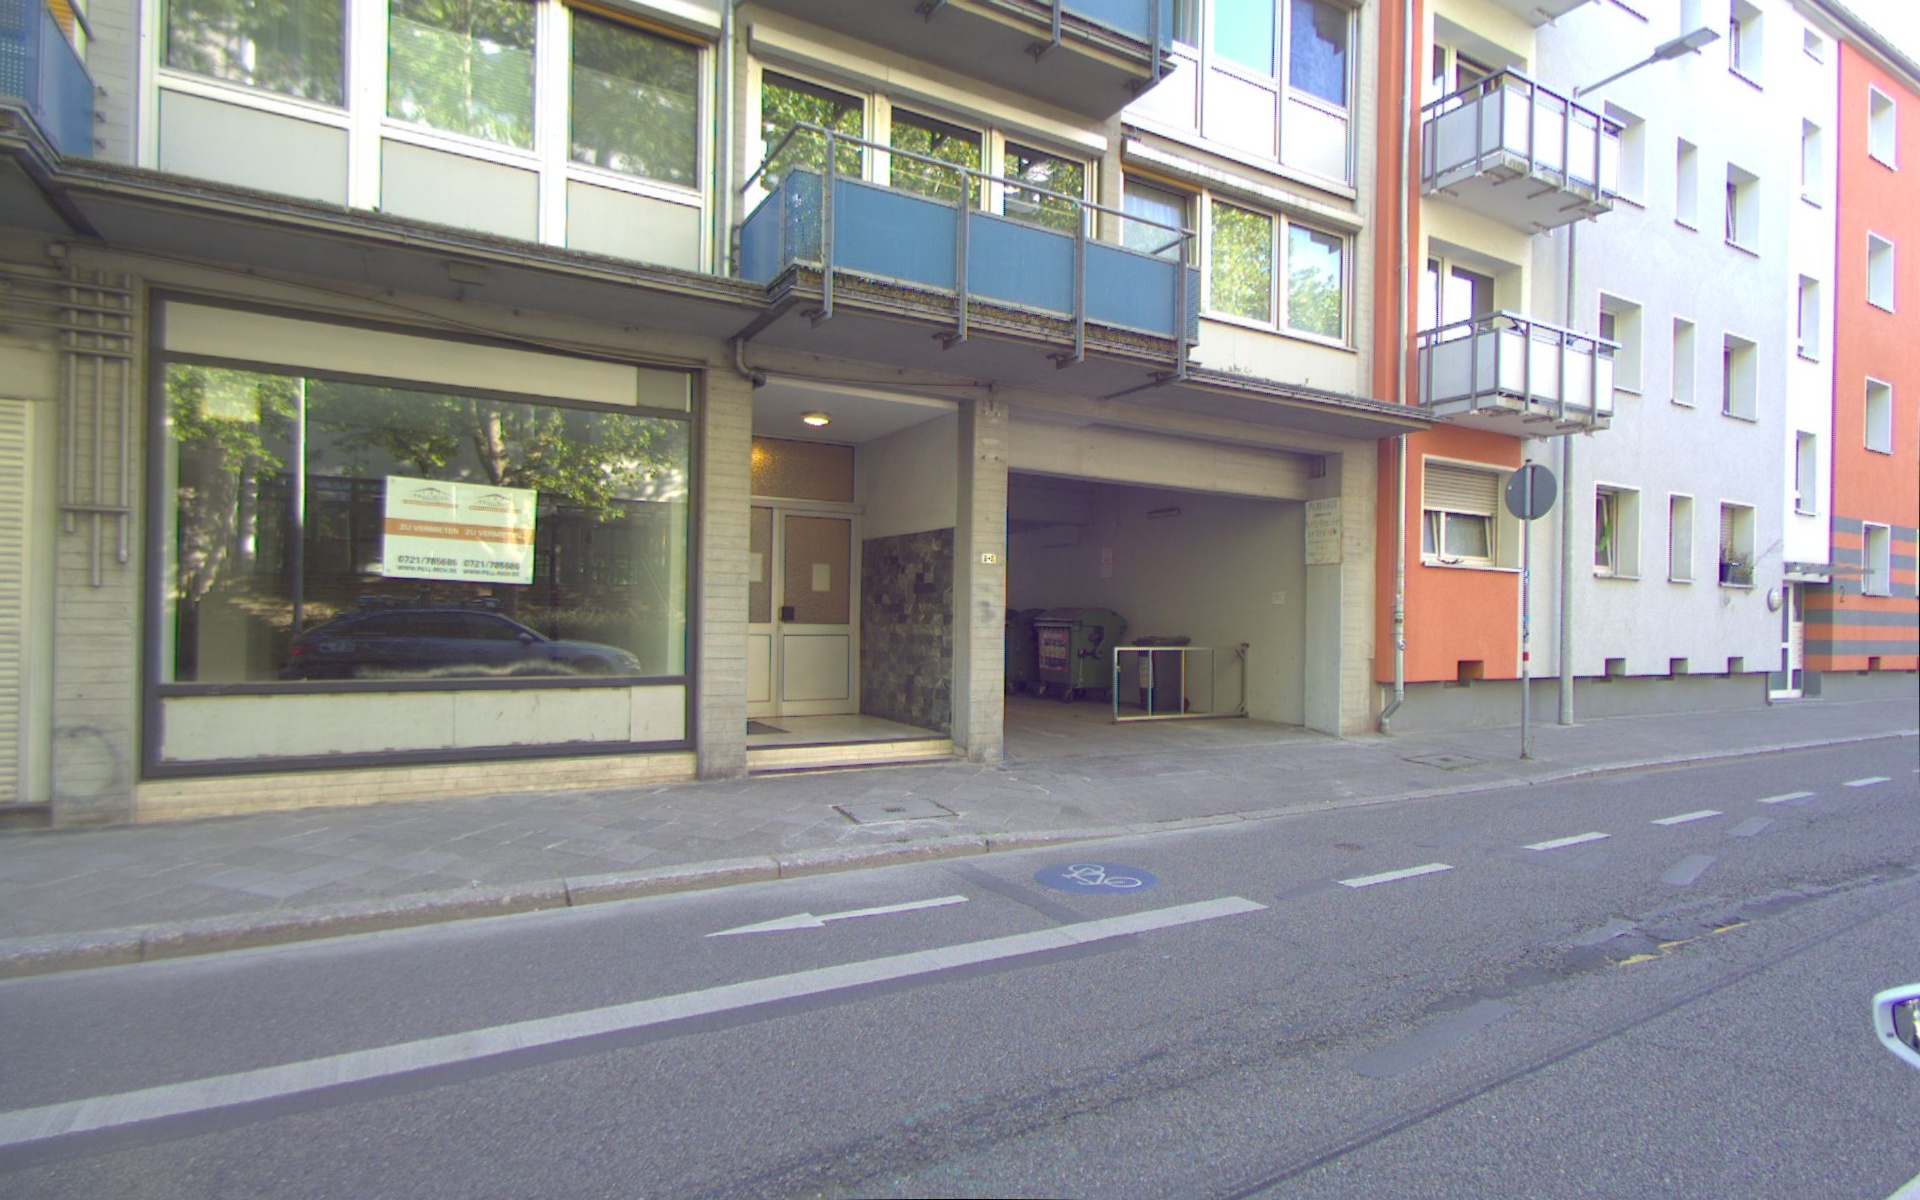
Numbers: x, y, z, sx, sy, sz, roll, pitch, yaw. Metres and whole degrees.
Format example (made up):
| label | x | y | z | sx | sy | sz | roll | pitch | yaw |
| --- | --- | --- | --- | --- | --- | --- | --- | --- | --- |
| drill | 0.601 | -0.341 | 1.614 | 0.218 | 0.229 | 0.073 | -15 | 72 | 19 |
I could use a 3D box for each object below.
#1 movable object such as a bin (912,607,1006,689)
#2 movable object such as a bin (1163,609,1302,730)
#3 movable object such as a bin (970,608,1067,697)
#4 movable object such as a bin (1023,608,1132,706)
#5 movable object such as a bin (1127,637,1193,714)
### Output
| label | x | y | z | sx | sy | sz | roll | pitch | yaw |
| --- | --- | --- | --- | --- | --- | --- | --- | --- | --- |
| movable object such as a bin | -0.039 | 0.866 | 18.879 | 1.119 | 1.449 | 1.666 | 1 | 0 | -28 |
| movable object such as a bin | 3.480 | 0.852 | 12.905 | 1.119 | 1.449 | 1.322 | 1 | 0 | -28 |
| movable object such as a bin | 0.988 | 0.868 | 17.177 | 1.119 | 1.449 | 1.322 | 1 | 0 | -28 |
| movable object such as a bin | 1.840 | 0.863 | 15.853 | 1.128 | 1.449 | 1.342 | 1 | 0 | -28 |
| movable object such as a bin | 2.889 | 1.076 | 14.535 | 0.695 | 1.055 | 0.593 | 2 | 0 | -30 |
